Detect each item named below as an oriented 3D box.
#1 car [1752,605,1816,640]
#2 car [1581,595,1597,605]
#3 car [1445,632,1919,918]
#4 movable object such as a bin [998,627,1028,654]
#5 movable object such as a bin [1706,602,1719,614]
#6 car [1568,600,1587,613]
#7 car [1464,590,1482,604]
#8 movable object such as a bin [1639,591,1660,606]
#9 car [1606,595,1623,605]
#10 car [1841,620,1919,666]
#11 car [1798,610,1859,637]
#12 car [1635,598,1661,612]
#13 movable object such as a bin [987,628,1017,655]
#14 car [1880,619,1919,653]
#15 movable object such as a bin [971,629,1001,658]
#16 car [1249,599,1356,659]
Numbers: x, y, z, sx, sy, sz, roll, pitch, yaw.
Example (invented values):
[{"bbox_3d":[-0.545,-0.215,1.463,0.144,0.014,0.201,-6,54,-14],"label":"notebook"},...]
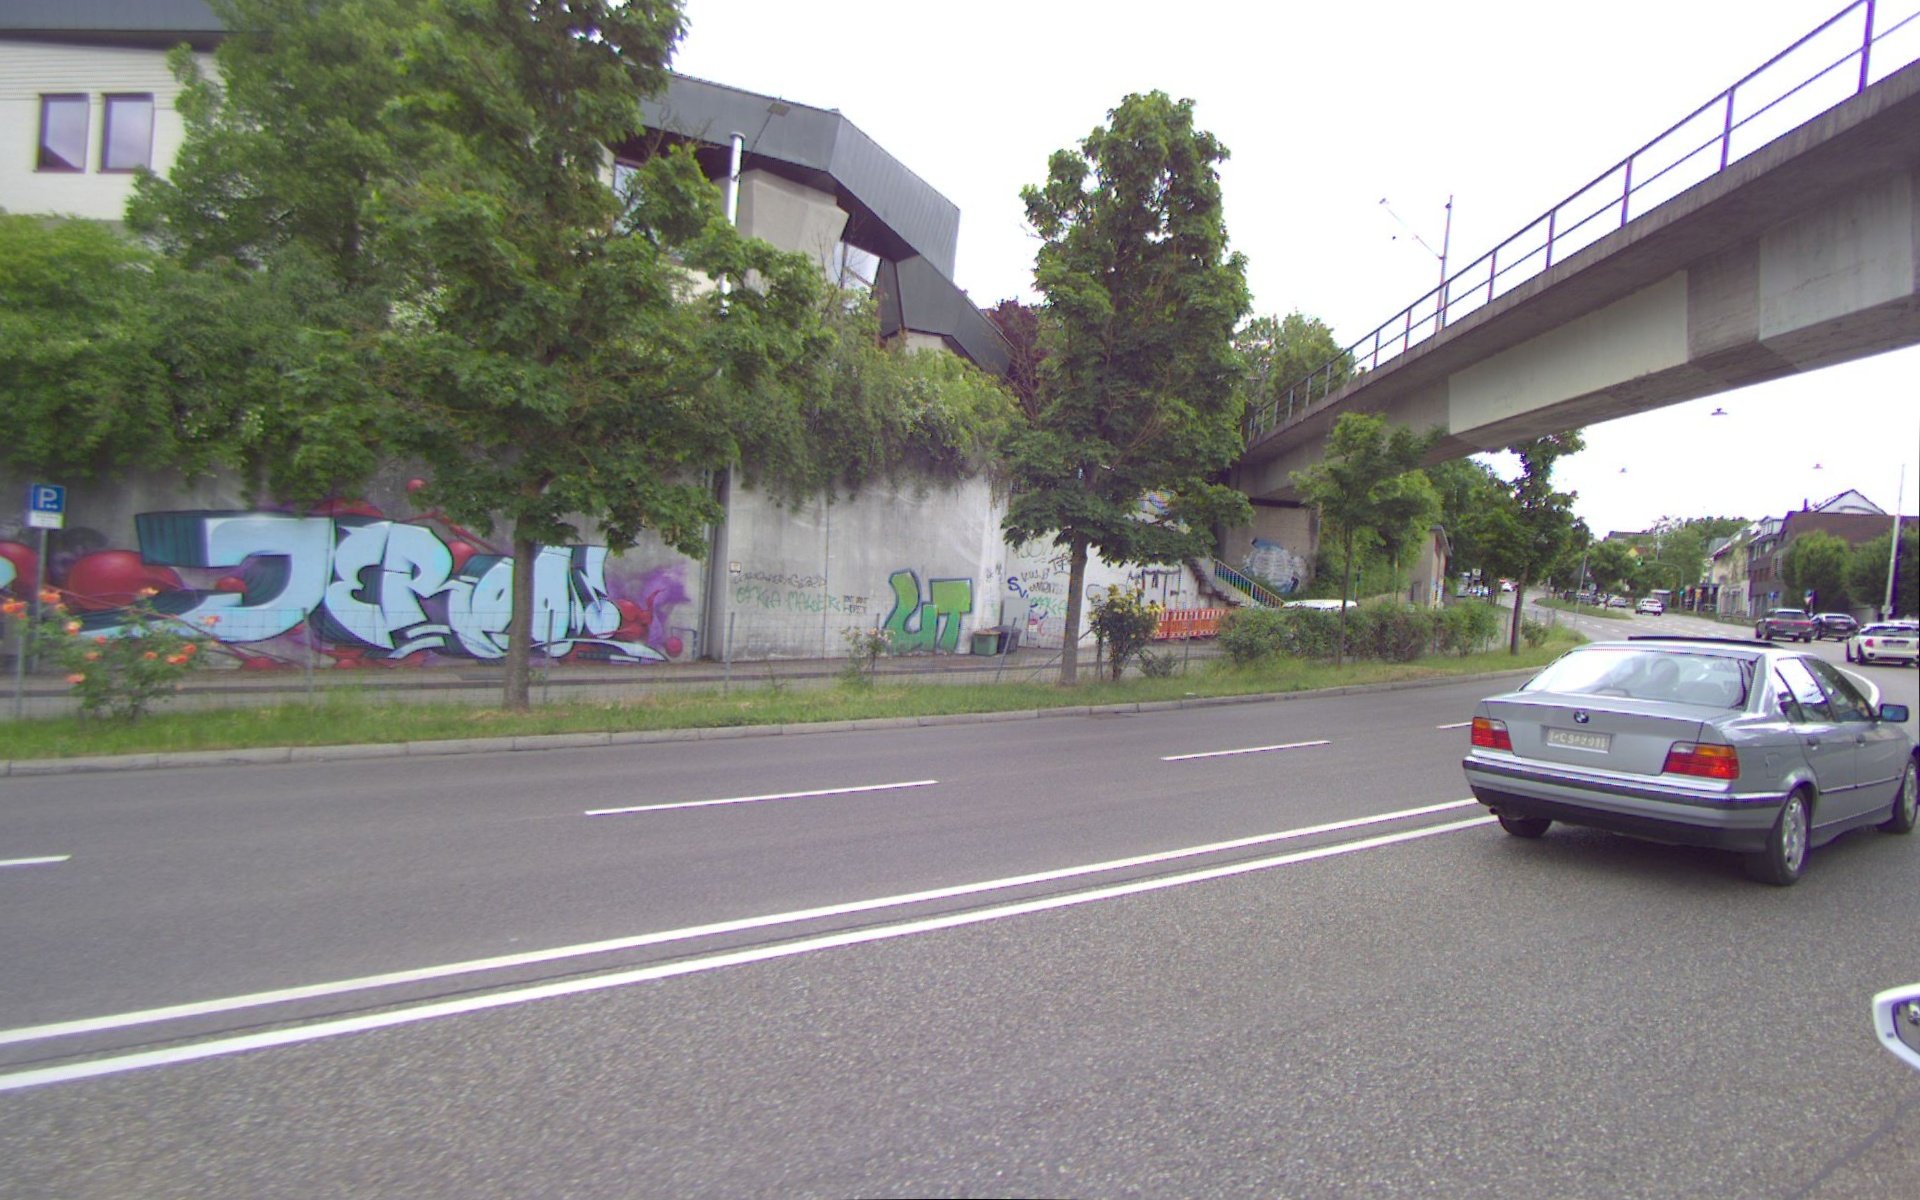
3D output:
[{"bbox_3d":[42.568,1.123,51.971,1.696,1.662,3.453,2,1,25],"label":"car"},{"bbox_3d":[91.917,0.025,146.766,1.696,1.394,3.452,2,1,27],"label":"car"},{"bbox_3d":[5.423,0.966,7.128,4.576,1.401,1.623,2,-1,-36],"label":"car"},{"bbox_3d":[1.457,1.112,27.580,0.549,0.649,0.580,6,5,32],"label":"movable object such as a bin"},{"bbox_3d":[98.910,1.066,132.047,1.177,1.427,0.710,7,4,28],"label":"movable object such as a bin"},{"bbox_3d":[81.033,0.897,131.756,1.696,1.604,3.453,2,1,25],"label":"car"},{"bbox_3d":[69.402,-0.415,135.904,1.831,1.692,4.274,6,4,26],"label":"car"},{"bbox_3d":[94.537,-0.214,137.703,1.861,1.895,1.528,6,4,20],"label":"movable object such as a bin"},{"bbox_3d":[93.372,0.030,143.288,1.696,1.394,3.452,2,1,27],"label":"car"},{"bbox_3d":[31.504,1.439,34.355,1.700,1.394,3.444,2,1,36],"label":"car"},{"bbox_3d":[48.193,1.277,55.820,1.696,1.394,3.452,2,1,26],"label":"car"},{"bbox_3d":[71.347,0.516,104.221,1.696,1.394,3.452,2,1,27],"label":"car"},{"bbox_3d":[1.129,1.115,27.021,0.549,0.649,0.580,6,5,32],"label":"movable object such as a bin"},{"bbox_3d":[41.469,1.555,43.580,1.699,1.394,3.447,2,1,33],"label":"car"},{"bbox_3d":[0.686,1.134,26.394,0.549,0.649,0.580,6,5,32],"label":"movable object such as a bin"},{"bbox_3d":[11.178,0.894,32.610,1.746,1.809,4.442,0,-1,41],"label":"car"}]
